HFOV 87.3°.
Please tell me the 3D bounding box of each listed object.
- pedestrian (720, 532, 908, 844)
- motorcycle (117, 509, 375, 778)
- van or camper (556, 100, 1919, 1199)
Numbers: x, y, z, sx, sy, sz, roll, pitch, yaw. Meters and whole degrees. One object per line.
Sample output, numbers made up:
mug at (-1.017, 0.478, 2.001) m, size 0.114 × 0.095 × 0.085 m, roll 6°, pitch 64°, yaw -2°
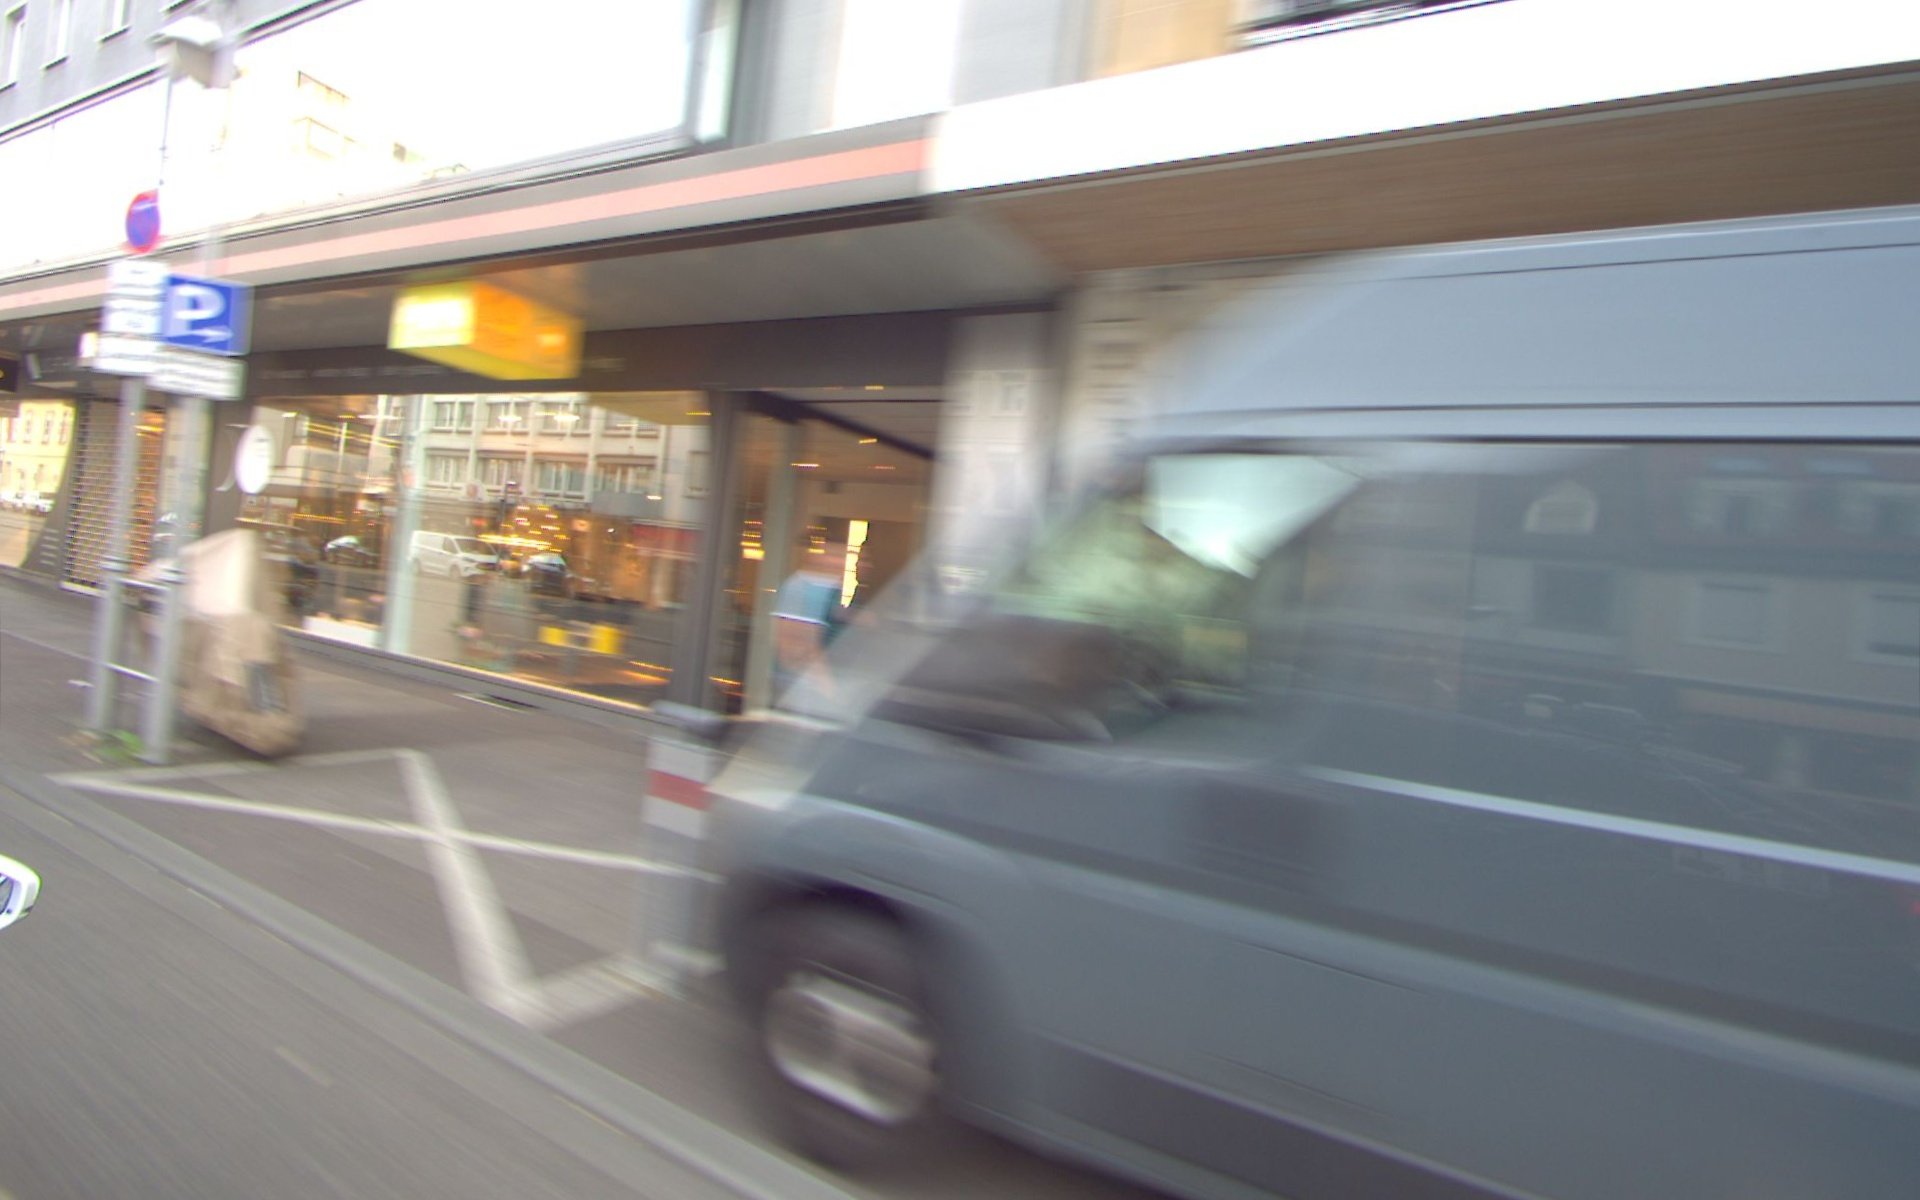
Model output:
pedestrian at (-0.907, 0.511, 6.275) m, size 0.754 × 1.769 × 0.679 m, roll 7°, pitch 3°, yaw 31°
motorcycle at (-4.670, 0.211, 6.516) m, size 1.975 × 1.435 × 0.811 m, roll 7°, pitch 2°, yaw 40°
van or camper at (1.764, 0.472, 2.636) m, size 5.423 × 2.458 × 2.190 m, roll 6°, pitch 2°, yaw 29°
